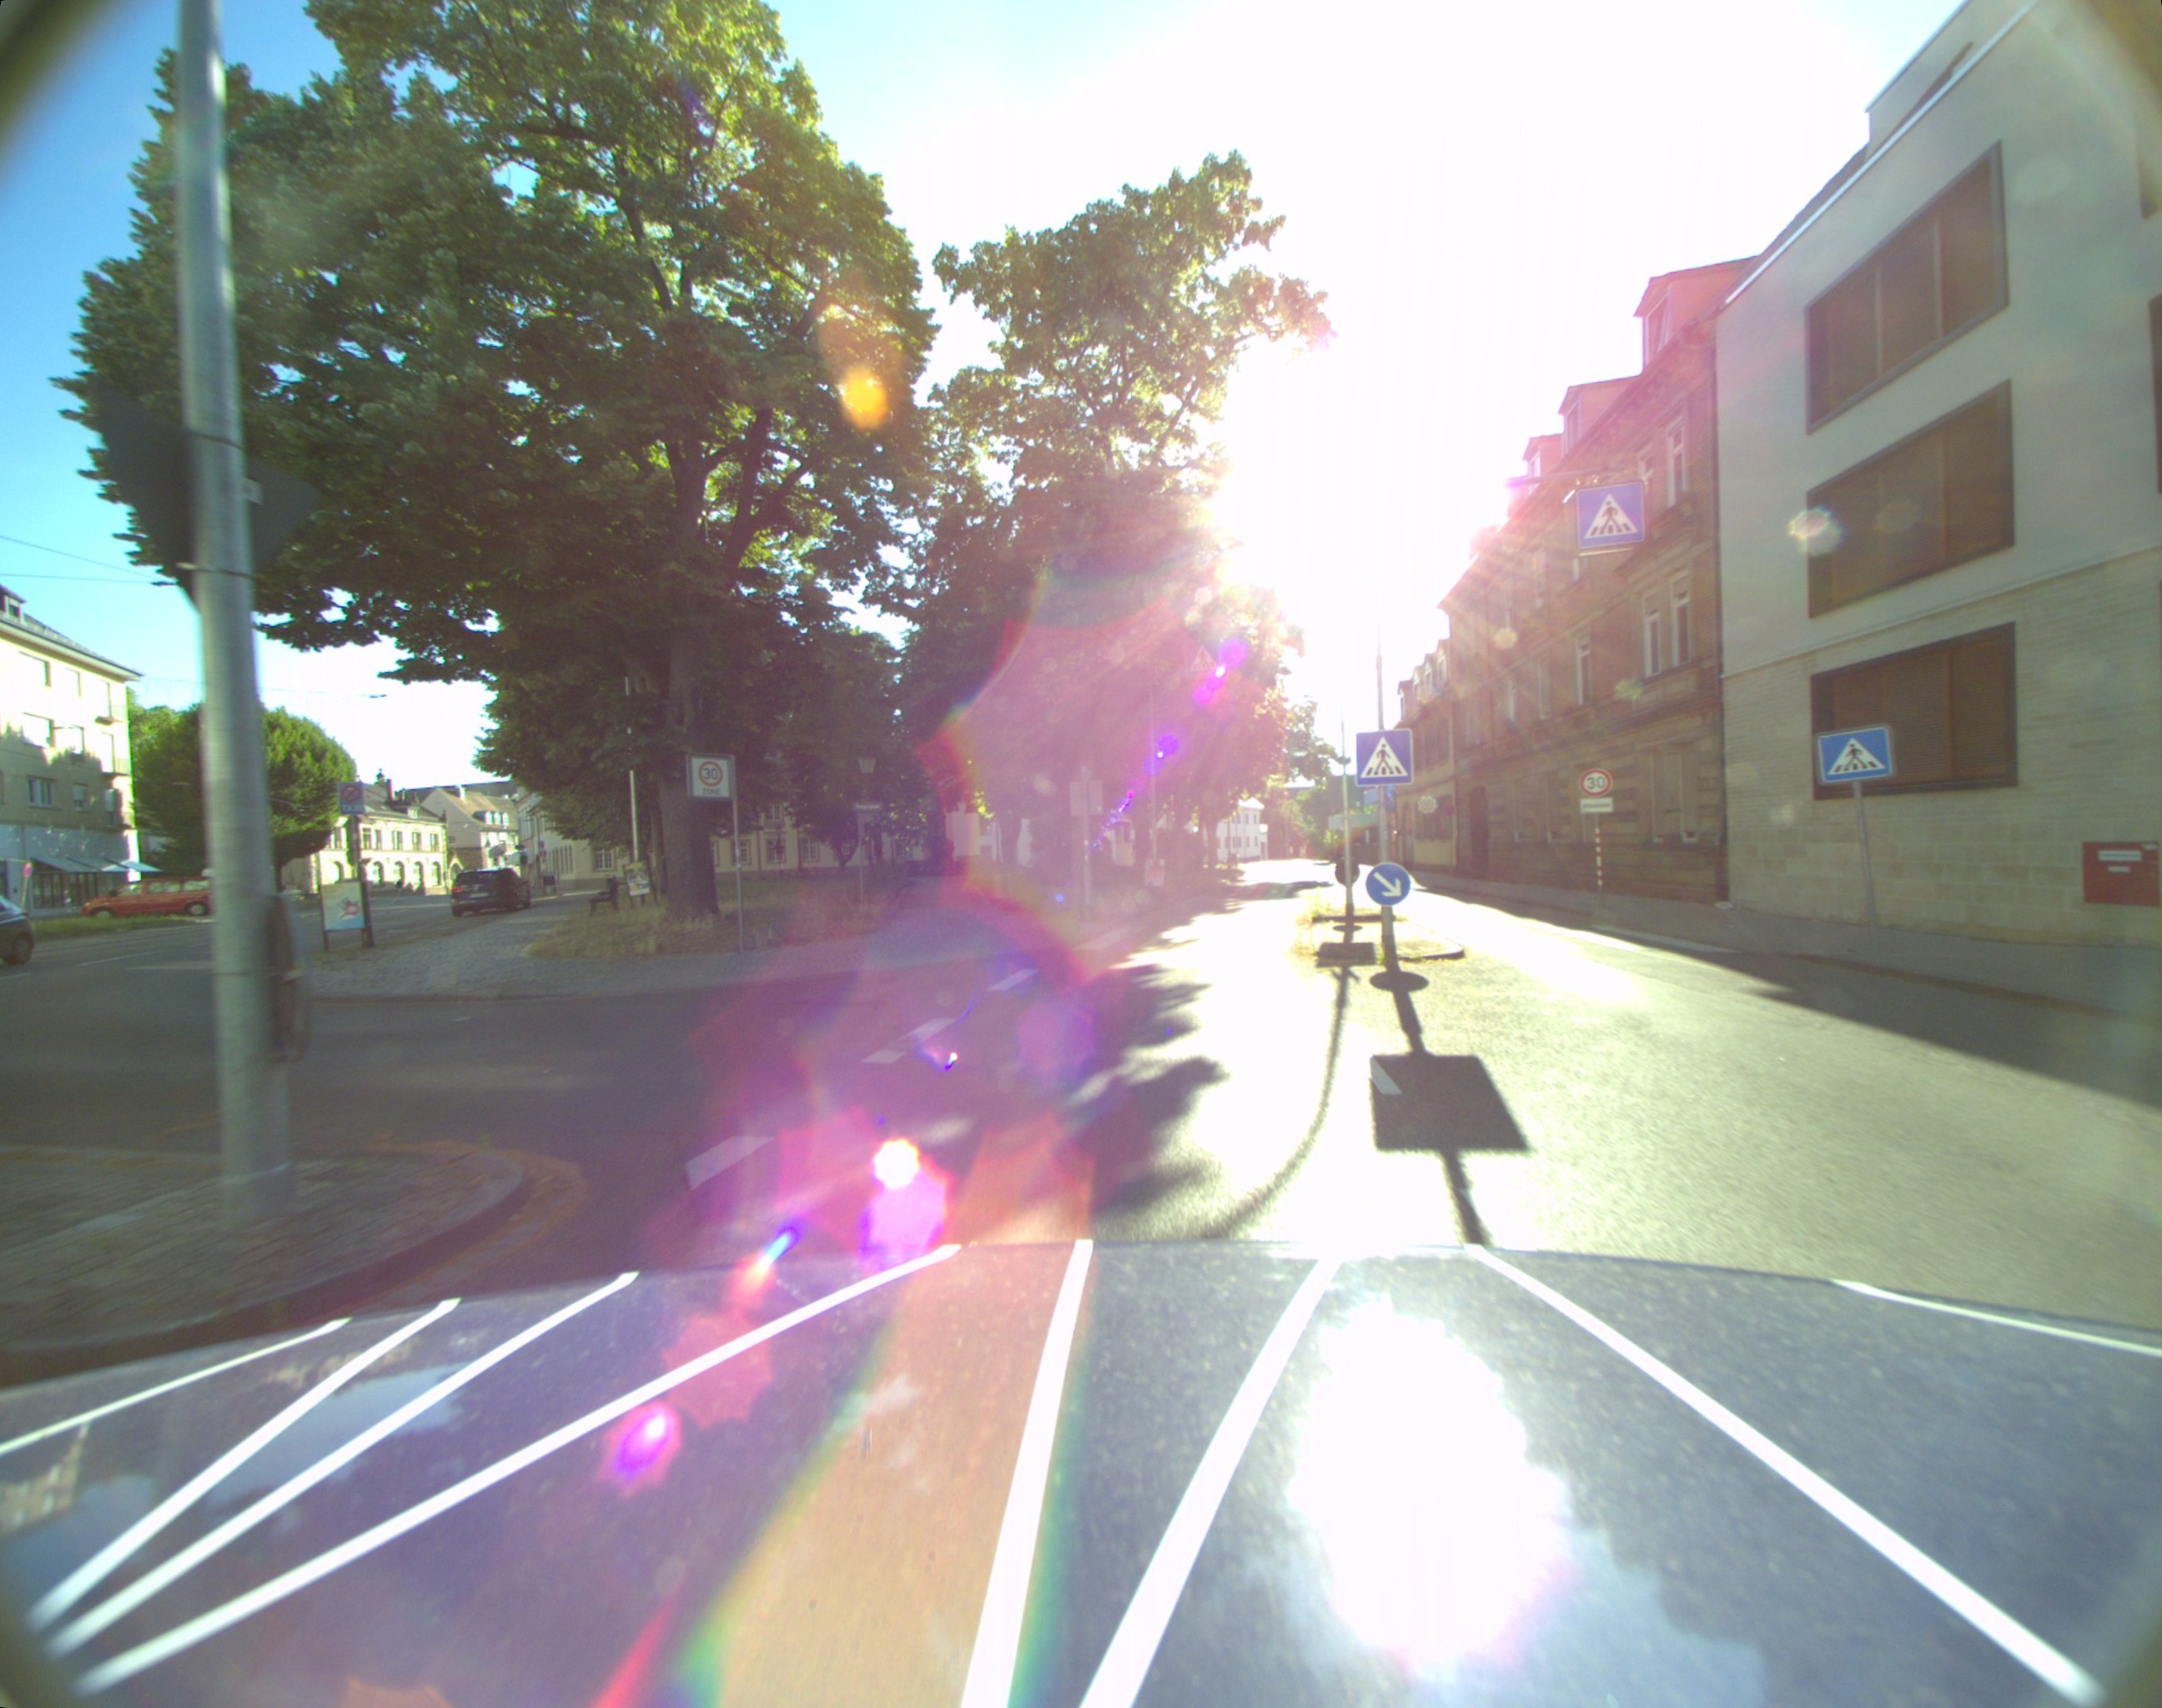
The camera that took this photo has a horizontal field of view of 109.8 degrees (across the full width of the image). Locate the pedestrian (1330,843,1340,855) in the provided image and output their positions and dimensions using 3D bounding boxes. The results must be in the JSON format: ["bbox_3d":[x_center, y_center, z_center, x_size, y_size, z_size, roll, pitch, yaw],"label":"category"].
[{"bbox_3d":[26.303,-0.494,78.615,0.742,1.179,0.841,-4,1,6],"label":"pedestrian"}]

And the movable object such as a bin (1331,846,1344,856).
[{"bbox_3d":[26.487,-0.301,78.590,1.037,0.923,0.841,-4,0,6],"label":"movable object such as a bin"}]

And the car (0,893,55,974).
[{"bbox_3d":[-21.268,1.547,13.631,2.003,1.510,4.062,-2,0,-32],"label":"car"}]

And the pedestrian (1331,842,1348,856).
[{"bbox_3d":[24.562,-0.445,72.151,0.842,1.222,1.155,-5,1,-43],"label":"pedestrian"}]

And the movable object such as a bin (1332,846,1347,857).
[{"bbox_3d":[24.547,-0.261,72.179,0.842,0.923,1.035,-5,0,-43],"label":"movable object such as a bin"}]

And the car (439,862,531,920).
[{"bbox_3d":[-21.622,1.267,27.732,2.003,1.784,3.990,-4,2,-30],"label":"car"}]

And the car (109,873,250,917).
[{"bbox_3d":[-44.906,2.011,38.014,4.078,1.910,1.995,-2,0,-33],"label":"car"}]

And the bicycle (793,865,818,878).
[{"bbox_3d":[-21.957,1.395,60.620,1.766,1.026,0.721,-2,1,-26],"label":"bicycle"}]

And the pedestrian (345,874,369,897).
[{"bbox_3d":[-65.770,2.866,69.036,1.358,2.002,1.155,-3,1,-39],"label":"pedestrian"}]
